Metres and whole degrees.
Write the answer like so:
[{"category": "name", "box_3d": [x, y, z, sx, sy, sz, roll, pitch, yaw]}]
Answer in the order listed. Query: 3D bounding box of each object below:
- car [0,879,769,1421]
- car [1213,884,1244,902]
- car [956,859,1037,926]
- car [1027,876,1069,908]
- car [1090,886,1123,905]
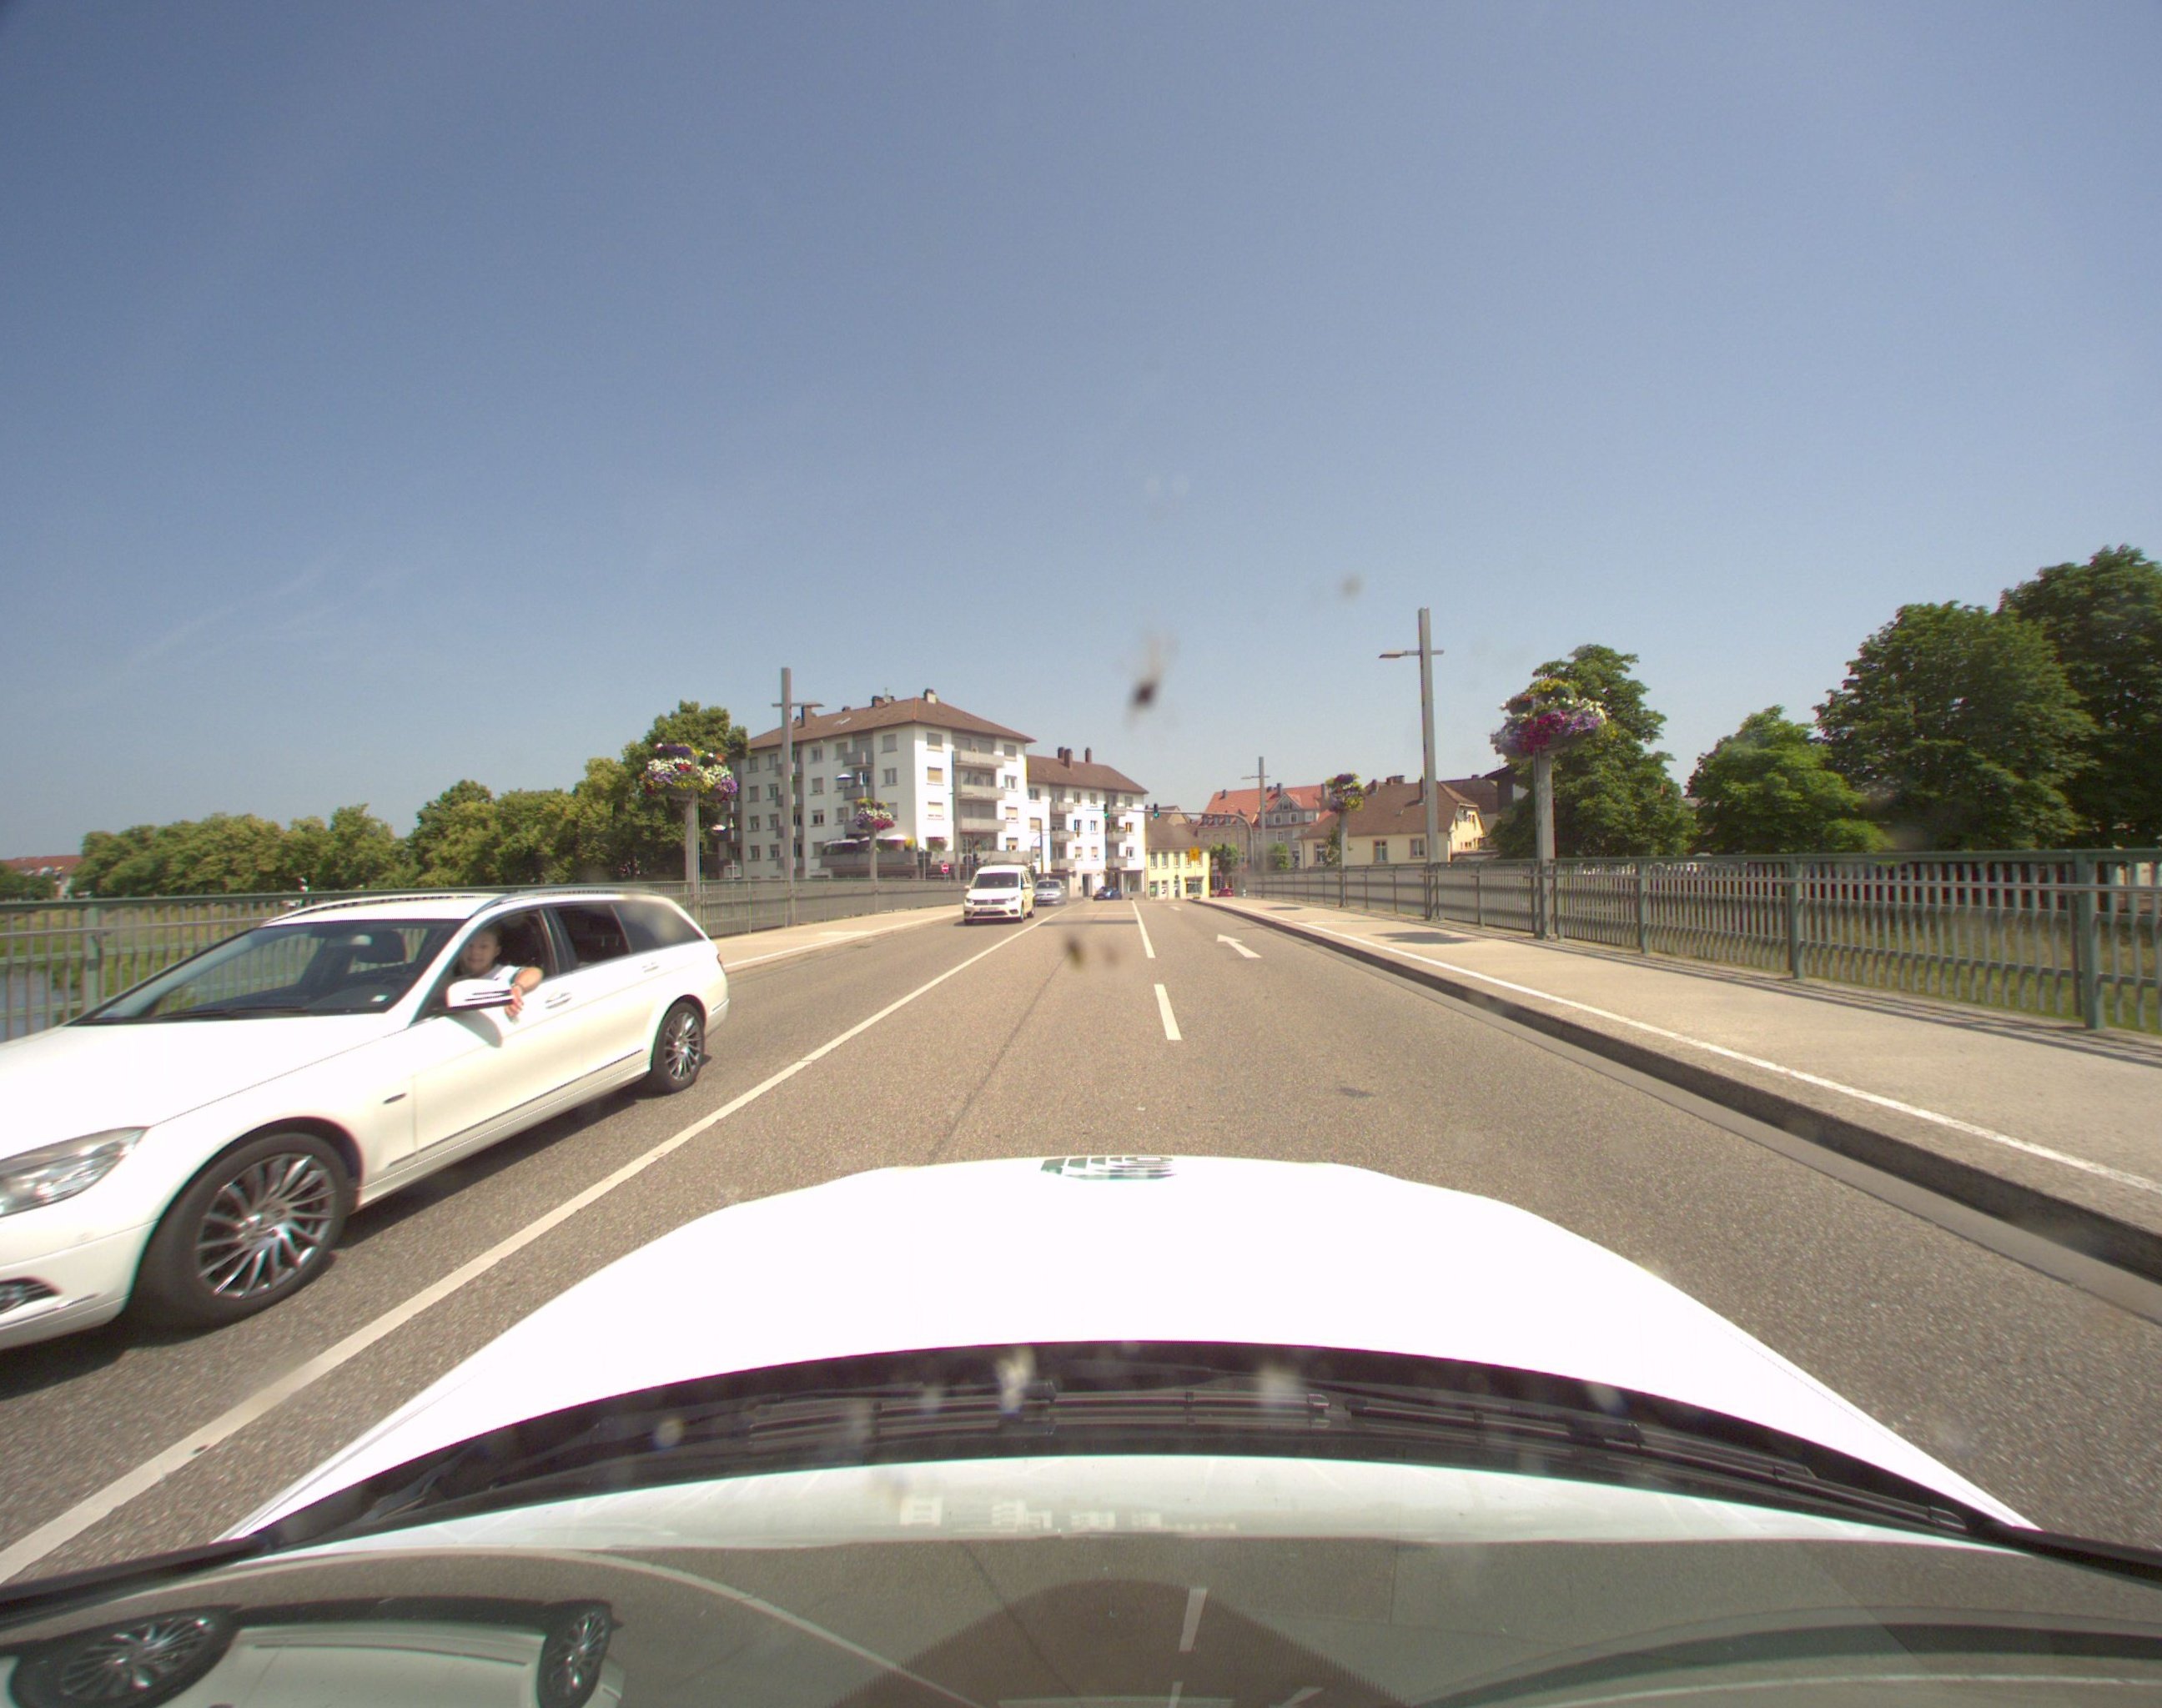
[{"category": "car", "box_3d": [-3.730, 0.944, 4.664, 1.837, 1.432, 4.716, -3, -1, 2]}, {"category": "car", "box_3d": [14.941, 3.897, 82.402, 1.972, 1.613, 4.367, -2, -1, 25]}, {"category": "car", "box_3d": [-2.596, 1.179, 26.027, 1.752, 1.857, 4.649, -3, -2, 3]}, {"category": "car", "box_3d": [-1.730, 2.025, 43.870, 1.752, 1.519, 4.004, -3, -1, 4]}, {"category": "car", "box_3d": [2.279, 3.618, 71.118, 1.642, 1.440, 3.775, -4, -2, 21]}]
